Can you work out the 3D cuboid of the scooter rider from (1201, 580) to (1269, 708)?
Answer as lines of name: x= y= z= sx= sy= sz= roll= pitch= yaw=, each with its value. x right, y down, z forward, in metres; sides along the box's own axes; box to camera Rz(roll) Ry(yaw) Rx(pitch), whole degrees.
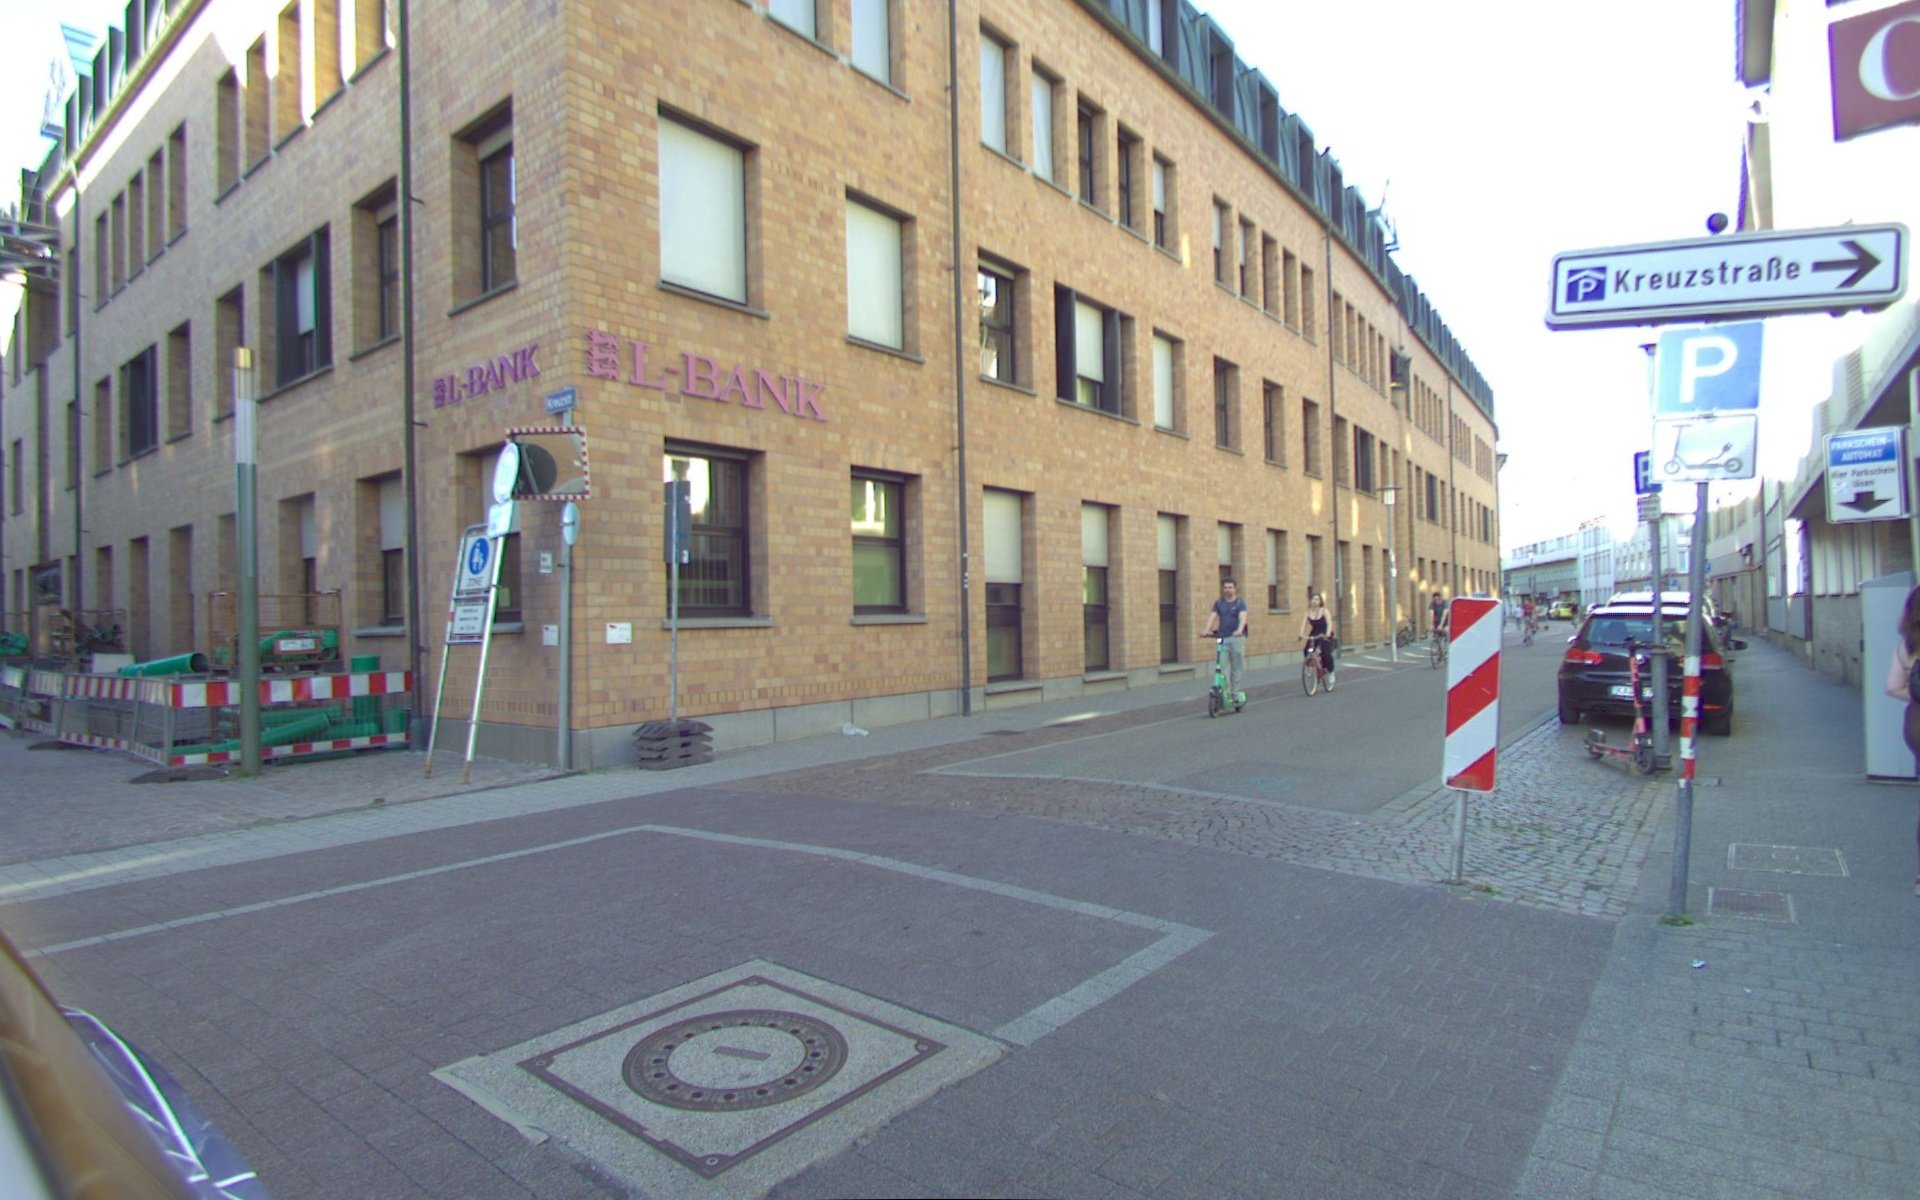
scooter rider: x=3.855 y=0.609 z=14.186 sx=0.648 sy=1.739 sz=0.693 roll=-3 pitch=-3 yaw=40

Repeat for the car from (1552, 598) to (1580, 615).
car: x=61.320 y=0.638 z=102.474 sx=1.924 sy=1.663 sz=3.806 roll=-1 pitch=0 yaw=23

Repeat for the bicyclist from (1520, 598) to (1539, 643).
bicyclist: x=19.685 y=0.711 z=34.982 sx=0.427 sy=1.509 sz=0.865 roll=-4 pitch=-3 yaw=35

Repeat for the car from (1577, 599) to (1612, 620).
car: x=54.852 y=0.824 z=87.583 sx=1.924 sy=1.663 sz=3.806 roll=-2 pitch=-1 yaw=23

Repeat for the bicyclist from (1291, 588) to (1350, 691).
bicyclist: x=6.103 y=0.669 z=17.131 sx=0.619 sy=1.679 sz=0.813 roll=-5 pitch=-4 yaw=38

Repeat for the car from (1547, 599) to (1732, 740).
car: x=8.821 y=0.755 z=13.029 sx=1.738 sy=1.497 sz=3.764 roll=1 pitch=1 yaw=37

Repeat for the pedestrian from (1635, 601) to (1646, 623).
pedestrian: x=47.630 y=0.824 z=70.828 sx=0.569 sy=1.490 sz=0.469 roll=-2 pitch=-1 yaw=30

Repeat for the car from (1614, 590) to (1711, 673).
car: x=16.186 y=0.660 z=23.235 sx=1.671 sy=1.717 sz=3.962 roll=1 pitch=0 yaw=37

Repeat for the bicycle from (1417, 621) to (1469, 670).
bicycle: x=11.121 y=1.033 z=23.277 sx=0.573 sy=1.059 sz=1.812 roll=-5 pitch=-3 yaw=40

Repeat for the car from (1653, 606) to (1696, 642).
car: x=35.551 y=1.172 z=50.413 sx=1.690 sy=1.692 sz=3.465 roll=1 pitch=0 yaw=35

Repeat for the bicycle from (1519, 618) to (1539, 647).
bicycle: x=19.643 y=1.122 z=34.928 sx=0.435 sy=0.964 sz=1.572 roll=-2 pitch=-1 yaw=35

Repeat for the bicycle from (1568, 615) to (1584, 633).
bicycle: x=39.148 y=1.527 z=64.333 sx=0.702 sy=1.112 sz=1.810 roll=-6 pitch=-4 yaw=28

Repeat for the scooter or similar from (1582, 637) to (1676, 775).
scooter or similar: x=6.163 y=0.948 z=9.358 sx=0.205 sy=1.193 sz=0.883 roll=-1 pitch=-1 yaw=-3

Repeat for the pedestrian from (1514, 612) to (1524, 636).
pedestrian: x=36.855 y=1.558 z=66.726 sx=0.542 sy=1.556 sz=0.400 roll=-1 pitch=-1 yaw=36

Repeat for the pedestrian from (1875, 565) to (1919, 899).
pedestrian: x=4.864 y=0.620 z=4.877 sx=0.510 sy=1.592 sz=0.527 roll=-5 pitch=-4 yaw=37

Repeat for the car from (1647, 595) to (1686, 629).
car: x=38.540 y=0.619 z=55.213 sx=1.690 sy=1.789 sz=3.612 roll=1 pitch=0 yaw=35

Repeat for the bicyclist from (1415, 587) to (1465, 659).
bicyclist: x=11.037 y=0.523 z=23.253 sx=0.649 sy=1.570 sz=1.094 roll=-6 pitch=-4 yaw=41

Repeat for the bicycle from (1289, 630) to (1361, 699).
bicycle: x=6.202 y=1.072 z=17.152 sx=0.590 sy=1.060 sz=1.778 roll=-5 pitch=-3 yaw=37

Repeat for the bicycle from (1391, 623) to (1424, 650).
bicycle: x=16.029 y=1.278 z=36.214 sx=0.641 sy=0.888 sz=2.527 roll=-1 pitch=-1 yaw=34

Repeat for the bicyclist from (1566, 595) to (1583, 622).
bicyclist: x=39.034 y=0.554 z=64.267 sx=0.769 sy=1.668 sz=0.948 roll=-5 pitch=-3 yaw=28

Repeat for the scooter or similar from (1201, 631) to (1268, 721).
scooter or similar: x=3.856 y=1.040 z=14.181 sx=0.337 sy=1.195 sz=1.262 roll=-5 pitch=-4 yaw=40

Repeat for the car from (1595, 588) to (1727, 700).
car: x=12.037 y=0.666 z=17.288 sx=1.671 sy=1.674 sz=4.029 roll=1 pitch=0 yaw=37
